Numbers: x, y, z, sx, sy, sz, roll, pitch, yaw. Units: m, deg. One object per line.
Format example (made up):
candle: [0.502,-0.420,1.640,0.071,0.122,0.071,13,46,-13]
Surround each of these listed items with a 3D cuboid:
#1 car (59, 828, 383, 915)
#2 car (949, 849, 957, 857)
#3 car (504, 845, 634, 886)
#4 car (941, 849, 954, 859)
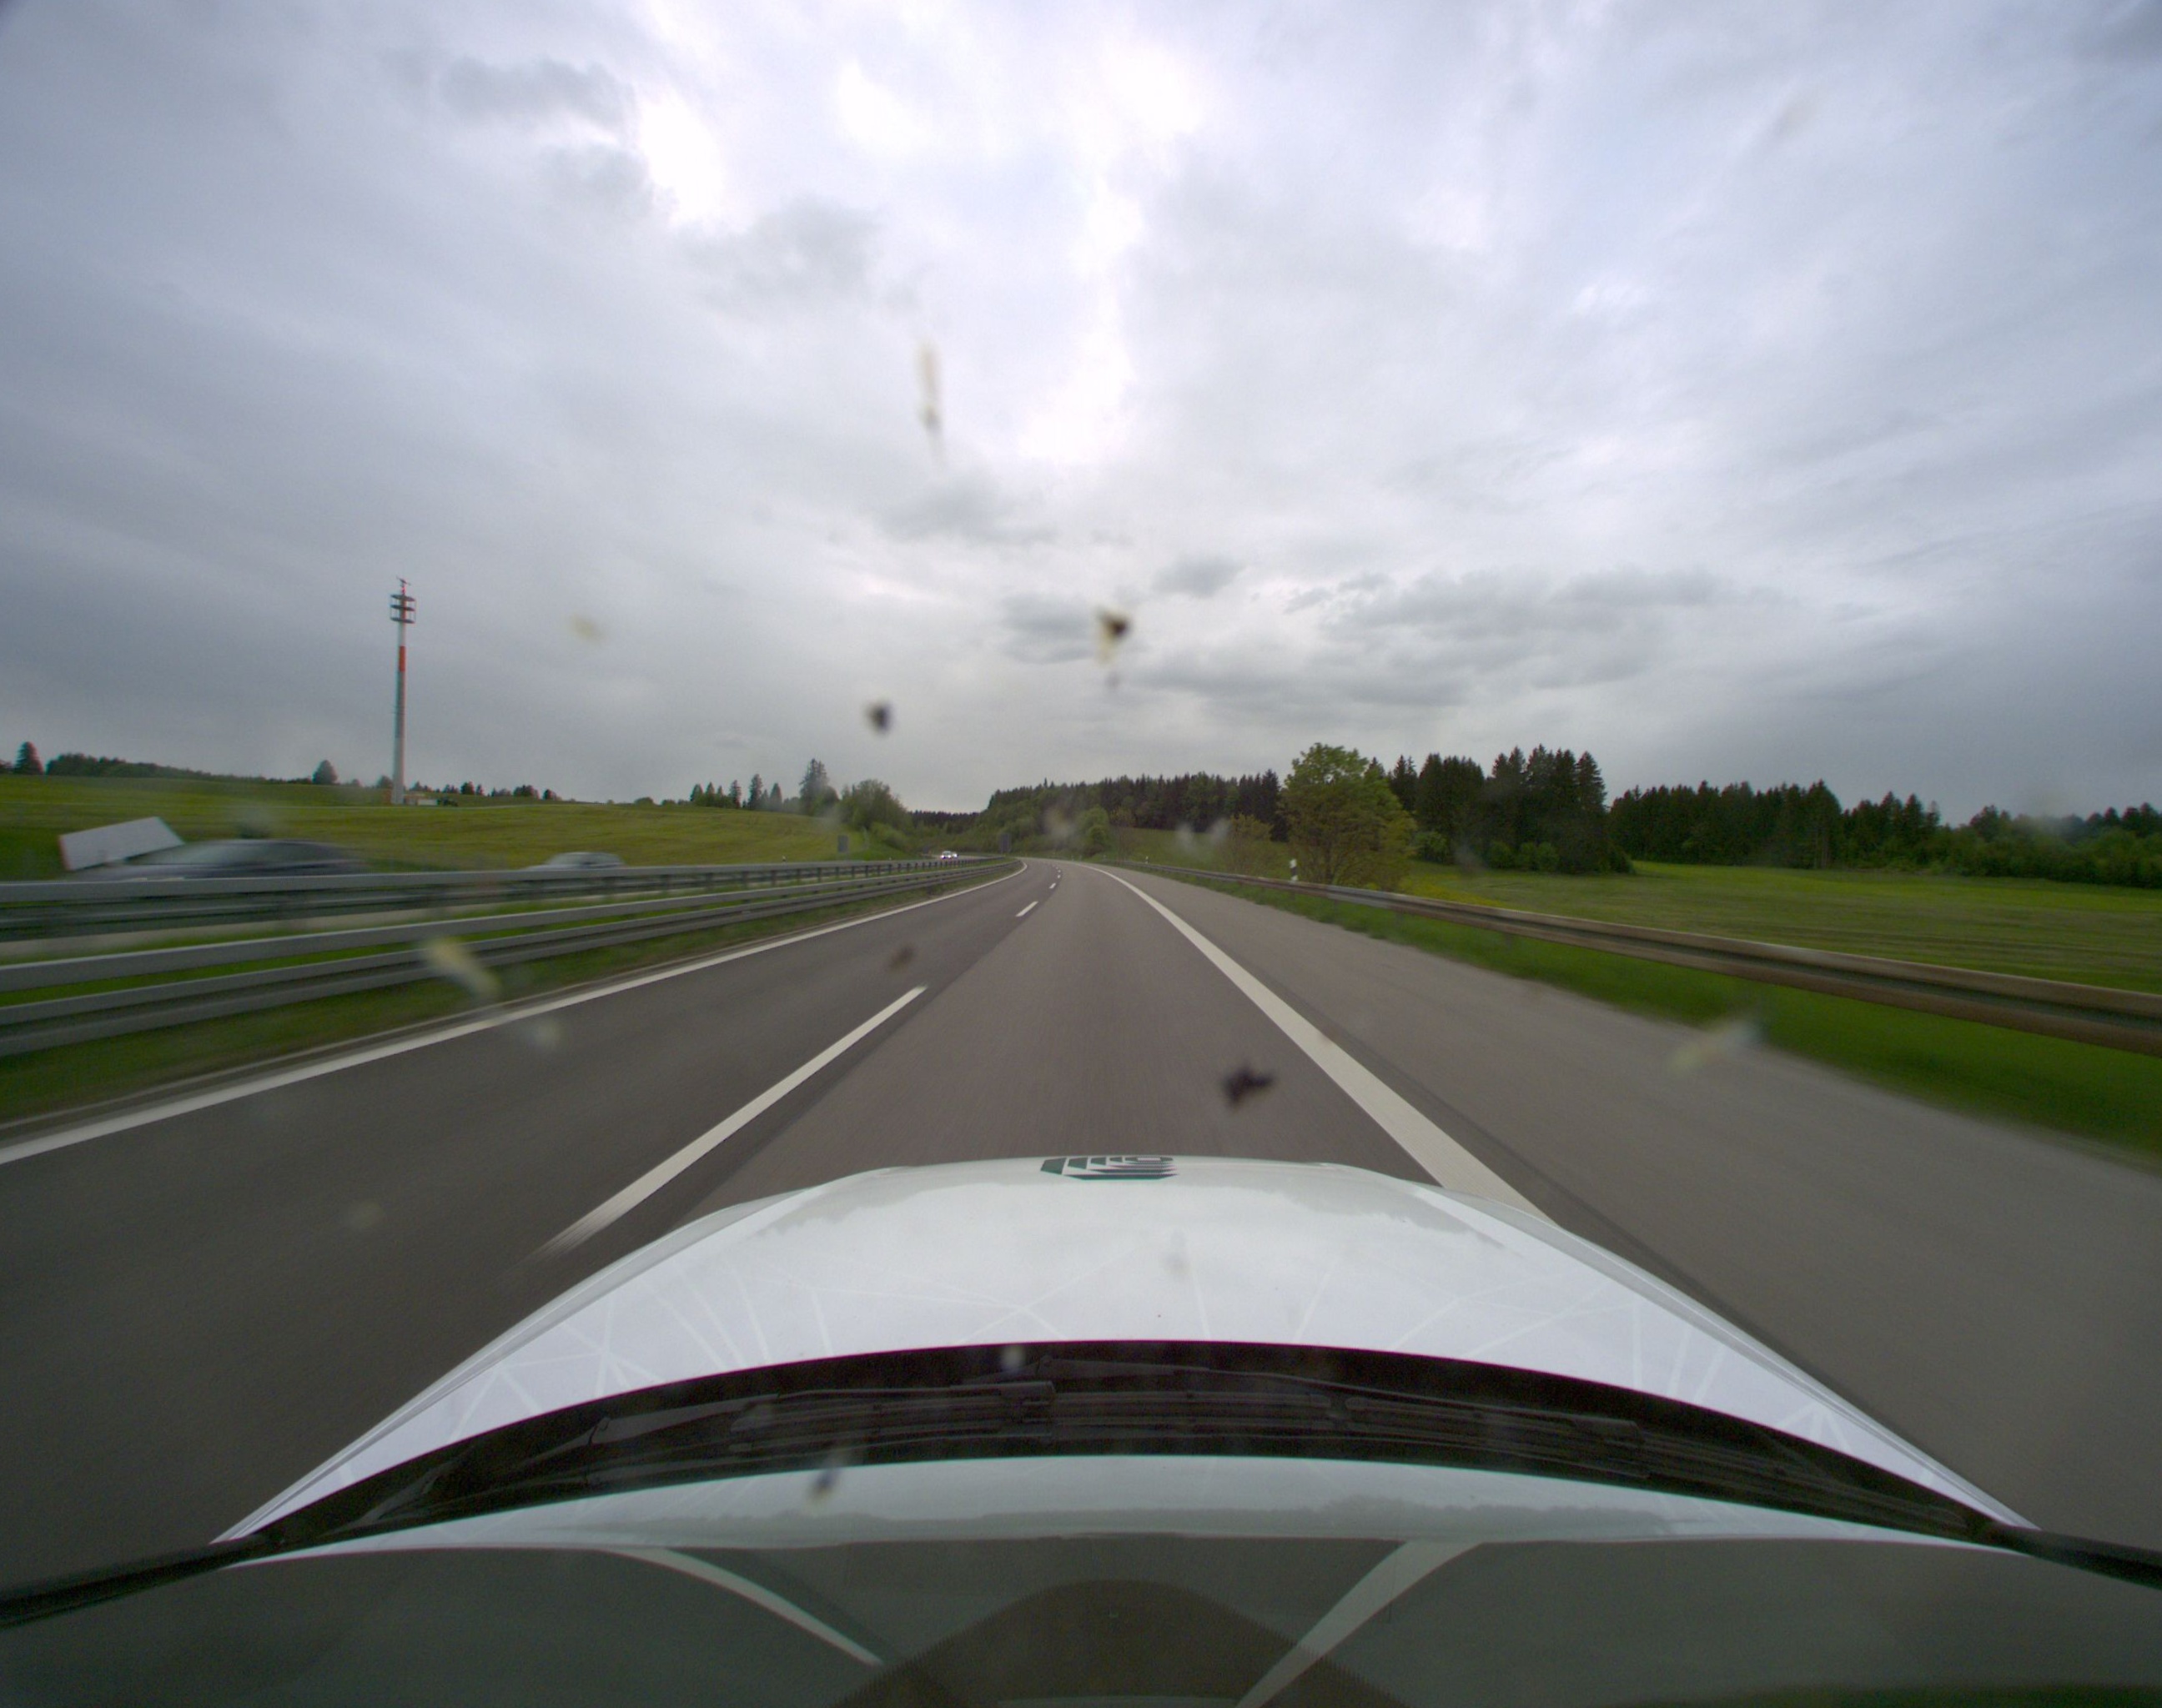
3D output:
car: [-16.581,0.283,16.069,1.985,1.417,4.003,2,1,3]
car: [-33.517,-0.279,213.289,2.036,1.690,5.036,2,1,-11]
car: [-20.160,0.397,32.395,1.987,1.440,4.999,2,1,0]
car: [-24.472,-0.018,148.872,1.991,1.686,4.617,2,1,-6]
